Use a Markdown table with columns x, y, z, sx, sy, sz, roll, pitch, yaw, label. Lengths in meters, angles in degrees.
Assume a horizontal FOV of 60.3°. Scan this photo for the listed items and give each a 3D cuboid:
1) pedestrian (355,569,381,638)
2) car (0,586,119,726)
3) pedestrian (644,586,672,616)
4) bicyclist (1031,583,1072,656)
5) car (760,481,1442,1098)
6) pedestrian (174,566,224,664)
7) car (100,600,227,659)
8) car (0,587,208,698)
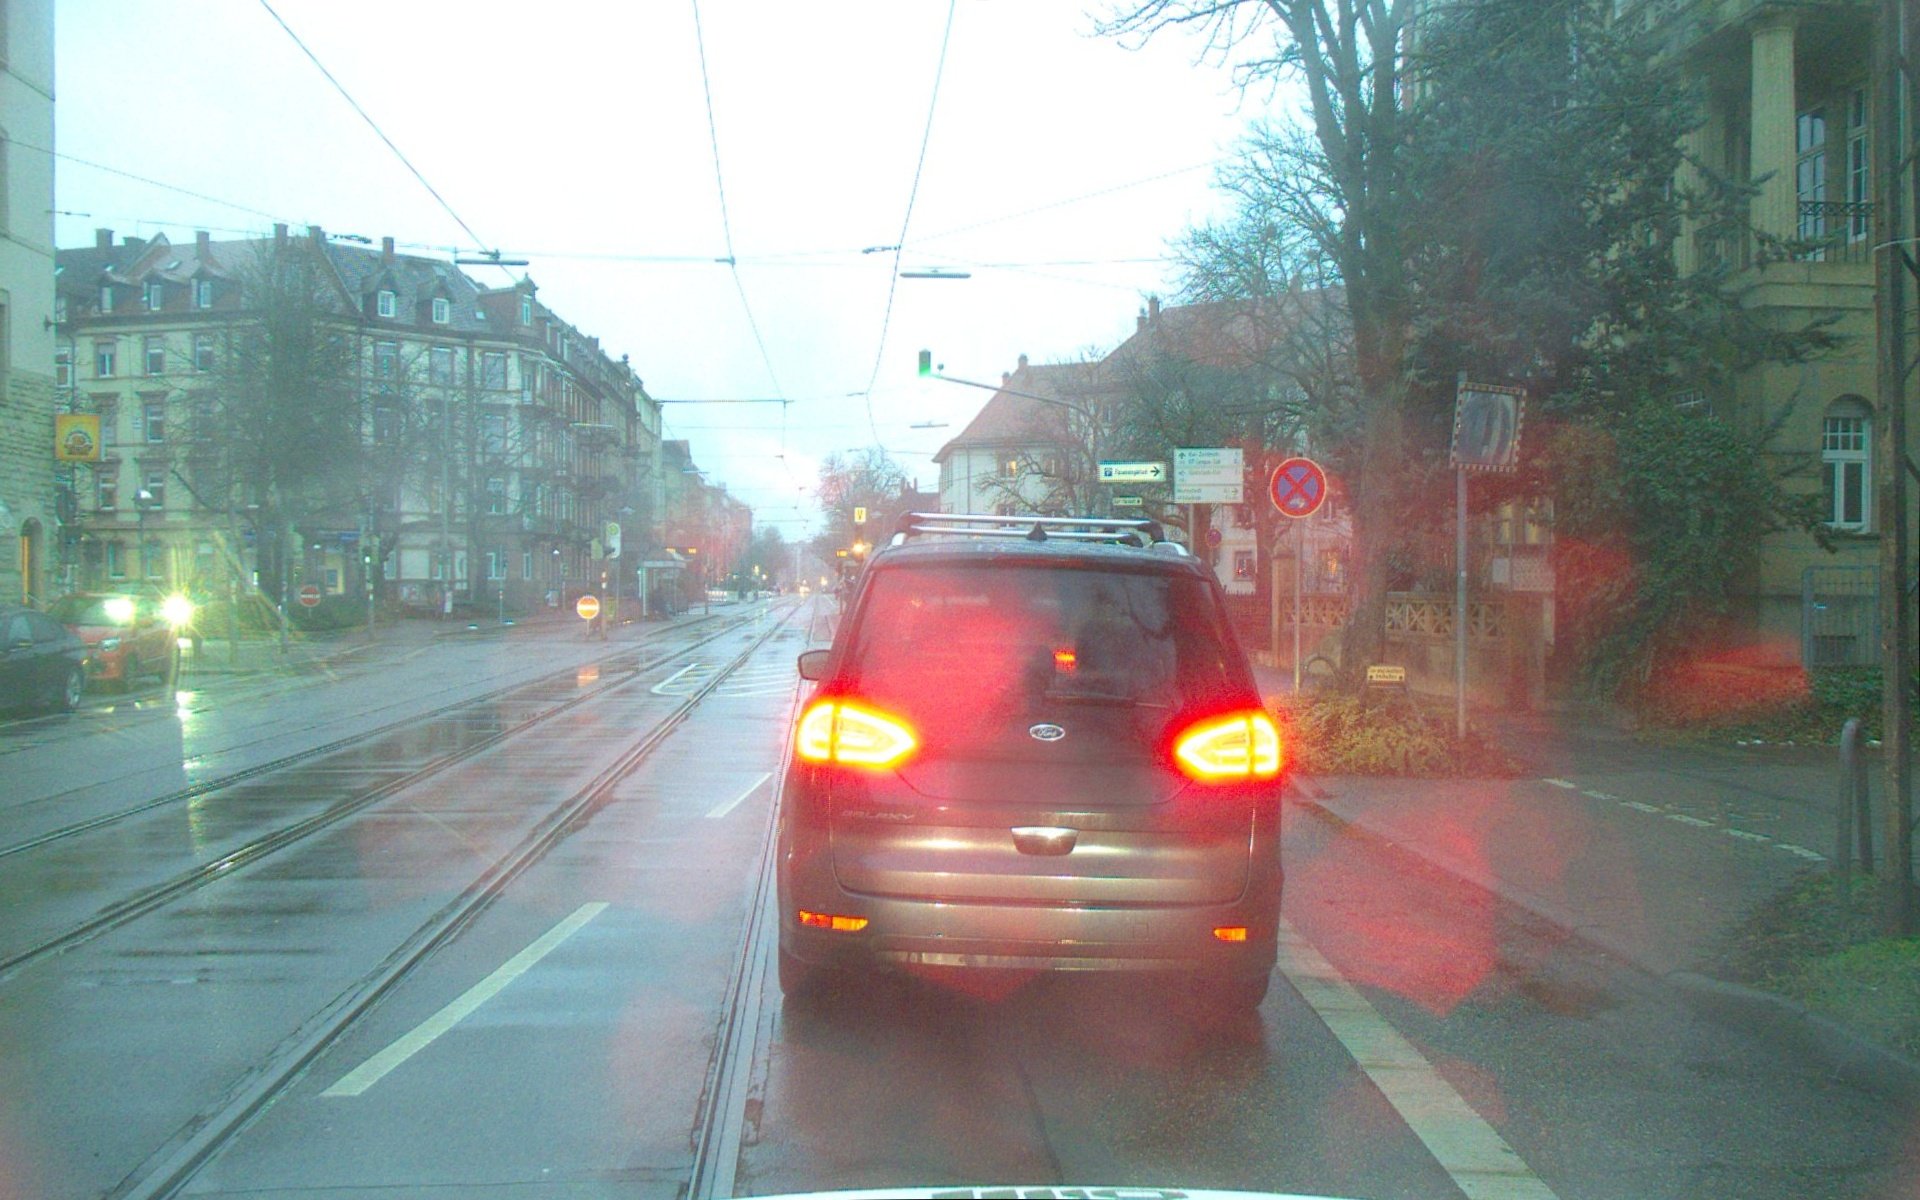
| x | y | z | sx | sy | sz | roll | pitch | yaw | label |
| --- | --- | --- | --- | --- | --- | --- | --- | --- | --- |
| -17.764 | 0.112 | 49.598 | 0.695 | 2.049 | 0.656 | 0 | 0 | -24 | pedestrian |
| -13.139 | 0.673 | 21.923 | 1.949 | 1.674 | 4.624 | 5 | -1 | -7 | car |
| -12.376 | 0.048 | 67.781 | 1.027 | 1.221 | 0.884 | 1 | 0 | -4 | pedestrian |
| 2.219 | 0.466 | 40.167 | 0.703 | 1.691 | 1.054 | 4 | 0 | -9 | bicyclist |
| 0.351 | 0.574 | 7.420 | 2.061 | 1.848 | 4.658 | 2 | 0 | -2 | car |
| -16.153 | 0.317 | 35.115 | 0.742 | 2.049 | 0.646 | 0 | -1 | 32 | pedestrian |
| -24.553 | 0.864 | 50.932 | 3.922 | 1.702 | 2.013 | 1 | 0 | 38 | car |
| -14.282 | 0.650 | 27.689 | 2.000 | 1.578 | 4.023 | 4 | 0 | -9 | car |
